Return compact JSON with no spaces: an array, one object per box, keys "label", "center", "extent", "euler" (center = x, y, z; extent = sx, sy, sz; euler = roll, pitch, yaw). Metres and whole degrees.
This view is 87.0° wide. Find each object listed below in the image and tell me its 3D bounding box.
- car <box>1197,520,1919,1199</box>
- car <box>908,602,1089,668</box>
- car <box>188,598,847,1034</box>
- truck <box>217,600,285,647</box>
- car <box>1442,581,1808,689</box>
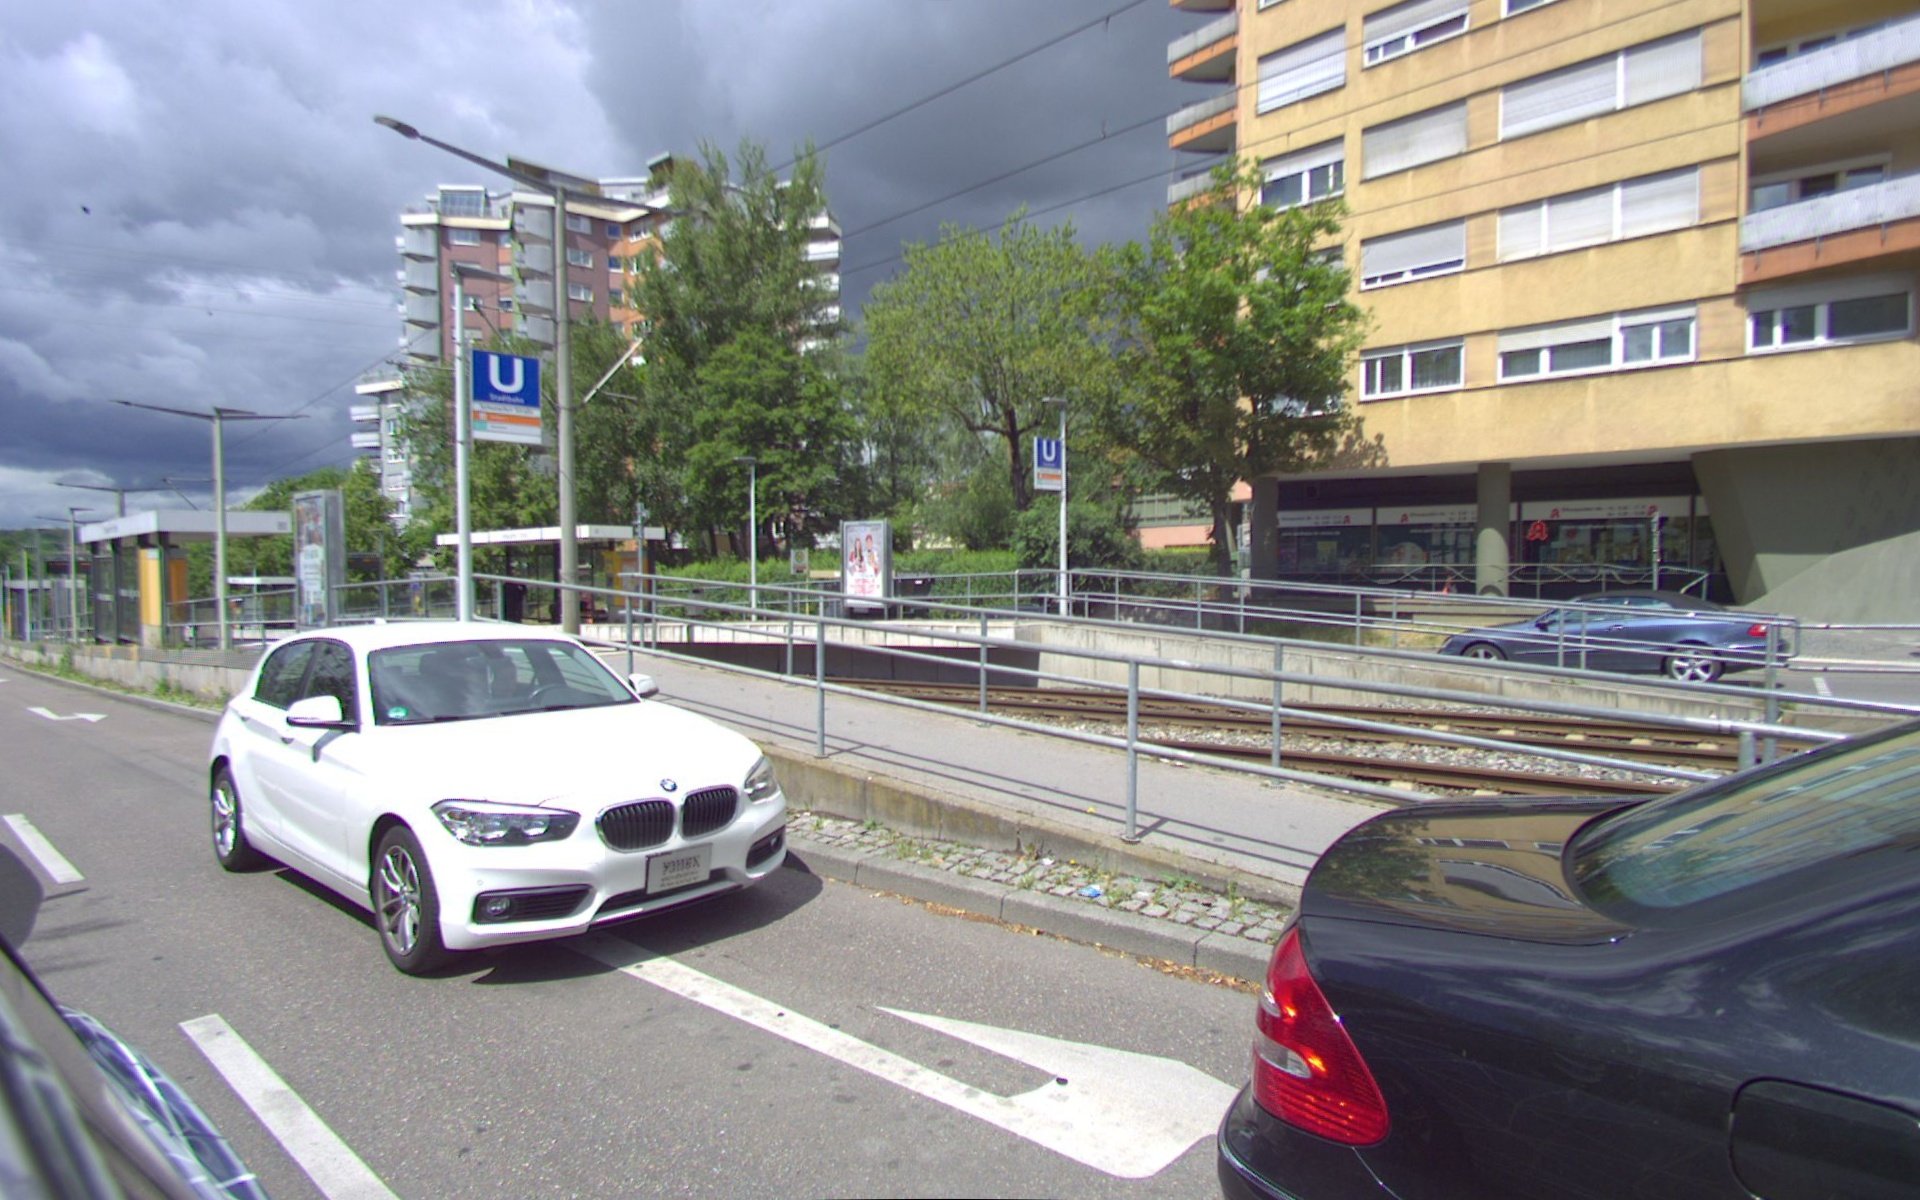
[{"label":"car","center":[2.619,0.629,0.632],"extent":[4.542,1.472,1.710],"euler":[-1,0,41]},{"label":"car","center":[0.841,0.824,23.927],"extent":[4.254,1.424,1.611],"euler":[-2,-1,43]},{"label":"car","center":[-2.596,0.762,5.437],"extent":[3.998,1.472,1.710],"euler":[-1,0,41]},{"label":"truck","center":[-51.764,1.713,73.818],"extent":[7.260,3.247,2.389],"euler":[-2,-1,42]},{"label":"car","center":[9.971,0.459,15.425],"extent":[4.490,1.410,1.618],"euler":[0,1,40]}]
